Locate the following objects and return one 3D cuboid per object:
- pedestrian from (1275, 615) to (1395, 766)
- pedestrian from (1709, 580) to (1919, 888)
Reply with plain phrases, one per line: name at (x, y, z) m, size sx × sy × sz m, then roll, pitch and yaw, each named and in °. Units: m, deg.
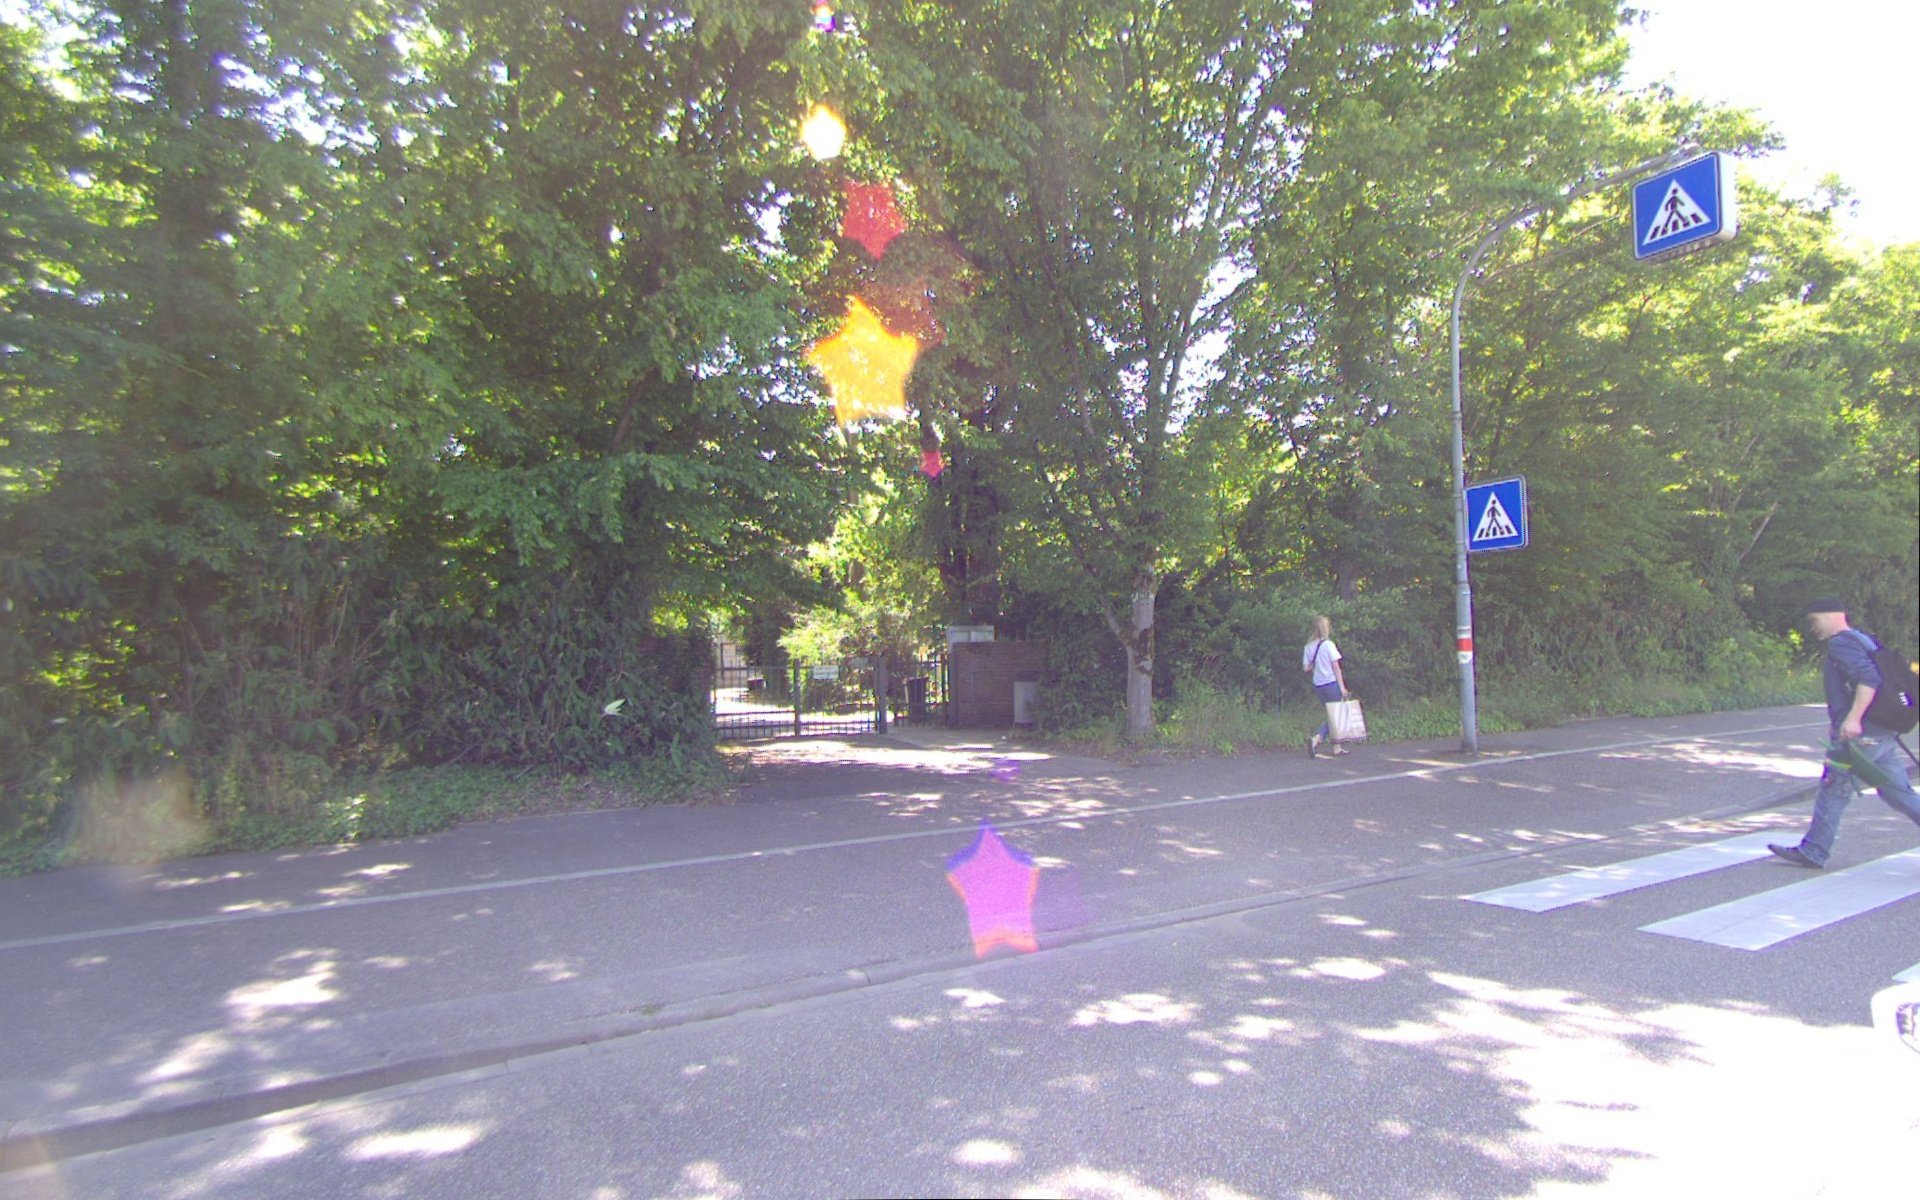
pedestrian at (4.314, 1.002, 11.589) m, size 0.875 × 1.634 × 0.928 m, roll 0°, pitch -1°, yaw -30°
pedestrian at (5.757, 0.816, 6.429) m, size 1.012 × 1.773 × 1.149 m, roll 0°, pitch -5°, yaw -33°
